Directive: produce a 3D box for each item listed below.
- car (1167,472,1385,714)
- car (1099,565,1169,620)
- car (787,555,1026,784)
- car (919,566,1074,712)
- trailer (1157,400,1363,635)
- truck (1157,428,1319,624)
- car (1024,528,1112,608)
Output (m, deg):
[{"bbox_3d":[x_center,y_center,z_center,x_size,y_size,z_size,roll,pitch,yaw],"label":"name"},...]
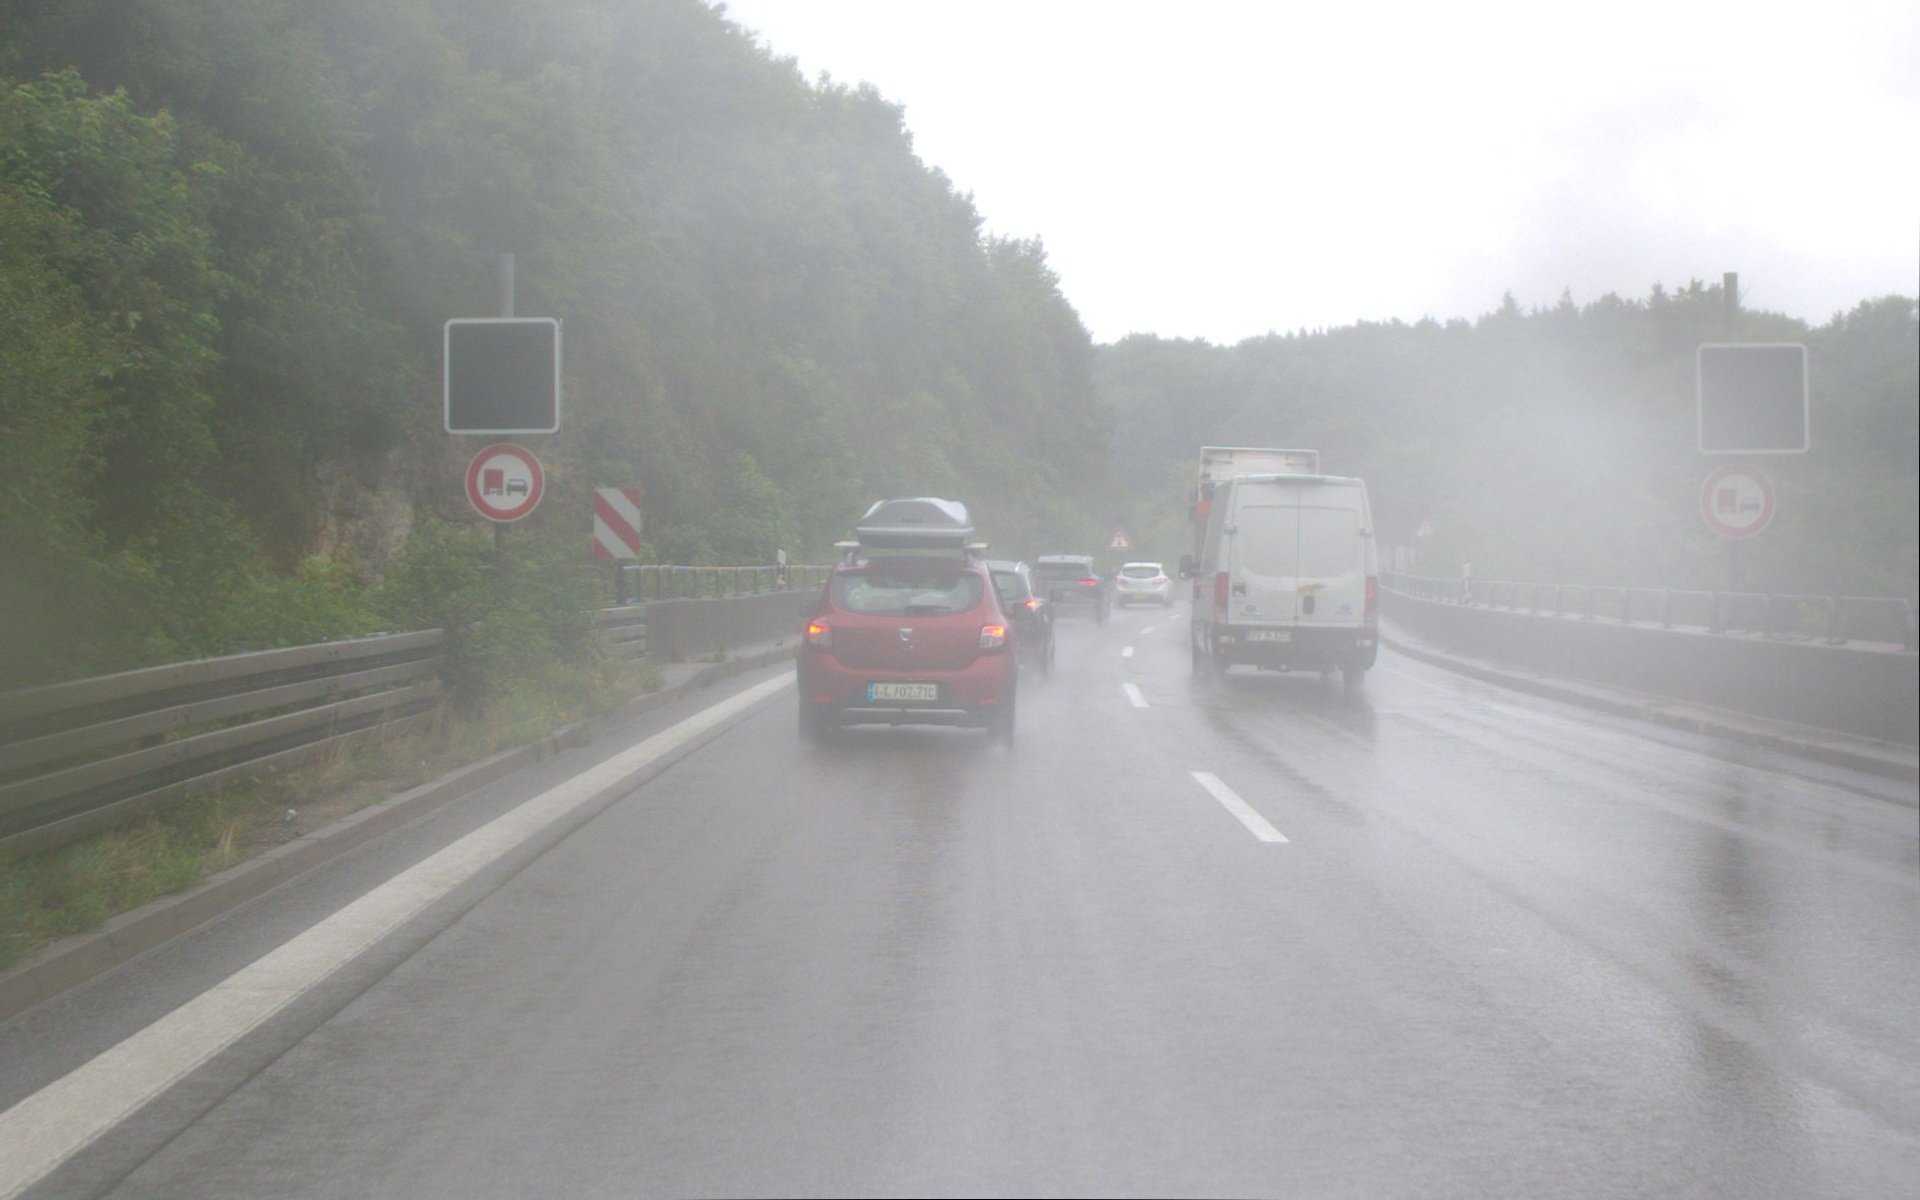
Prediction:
[{"bbox_3d":[3.922,-0.129,43.925,2.206,2.784,7.382,1,1,1],"label":"car"},{"bbox_3d":[5.570,-0.251,109.680,1.994,1.634,3.999,-2,0,6],"label":"car"},{"bbox_3d":[-0.426,0.525,28.309,1.758,1.679,4.000,-2,0,0],"label":"car"},{"bbox_3d":[0.462,0.469,43.948,1.833,1.709,3.645,-2,0,1],"label":"car"},{"bbox_3d":[5.477,-1.468,65.121,3.218,3.985,13.523,0,1,2],"label":"trailer"},{"bbox_3d":[5.766,-1.517,72.209,3.220,3.964,5.438,0,0,3],"label":"truck"},{"bbox_3d":[2.485,-0.719,78.209,1.875,1.700,3.888,-2,0,3],"label":"car"}]
